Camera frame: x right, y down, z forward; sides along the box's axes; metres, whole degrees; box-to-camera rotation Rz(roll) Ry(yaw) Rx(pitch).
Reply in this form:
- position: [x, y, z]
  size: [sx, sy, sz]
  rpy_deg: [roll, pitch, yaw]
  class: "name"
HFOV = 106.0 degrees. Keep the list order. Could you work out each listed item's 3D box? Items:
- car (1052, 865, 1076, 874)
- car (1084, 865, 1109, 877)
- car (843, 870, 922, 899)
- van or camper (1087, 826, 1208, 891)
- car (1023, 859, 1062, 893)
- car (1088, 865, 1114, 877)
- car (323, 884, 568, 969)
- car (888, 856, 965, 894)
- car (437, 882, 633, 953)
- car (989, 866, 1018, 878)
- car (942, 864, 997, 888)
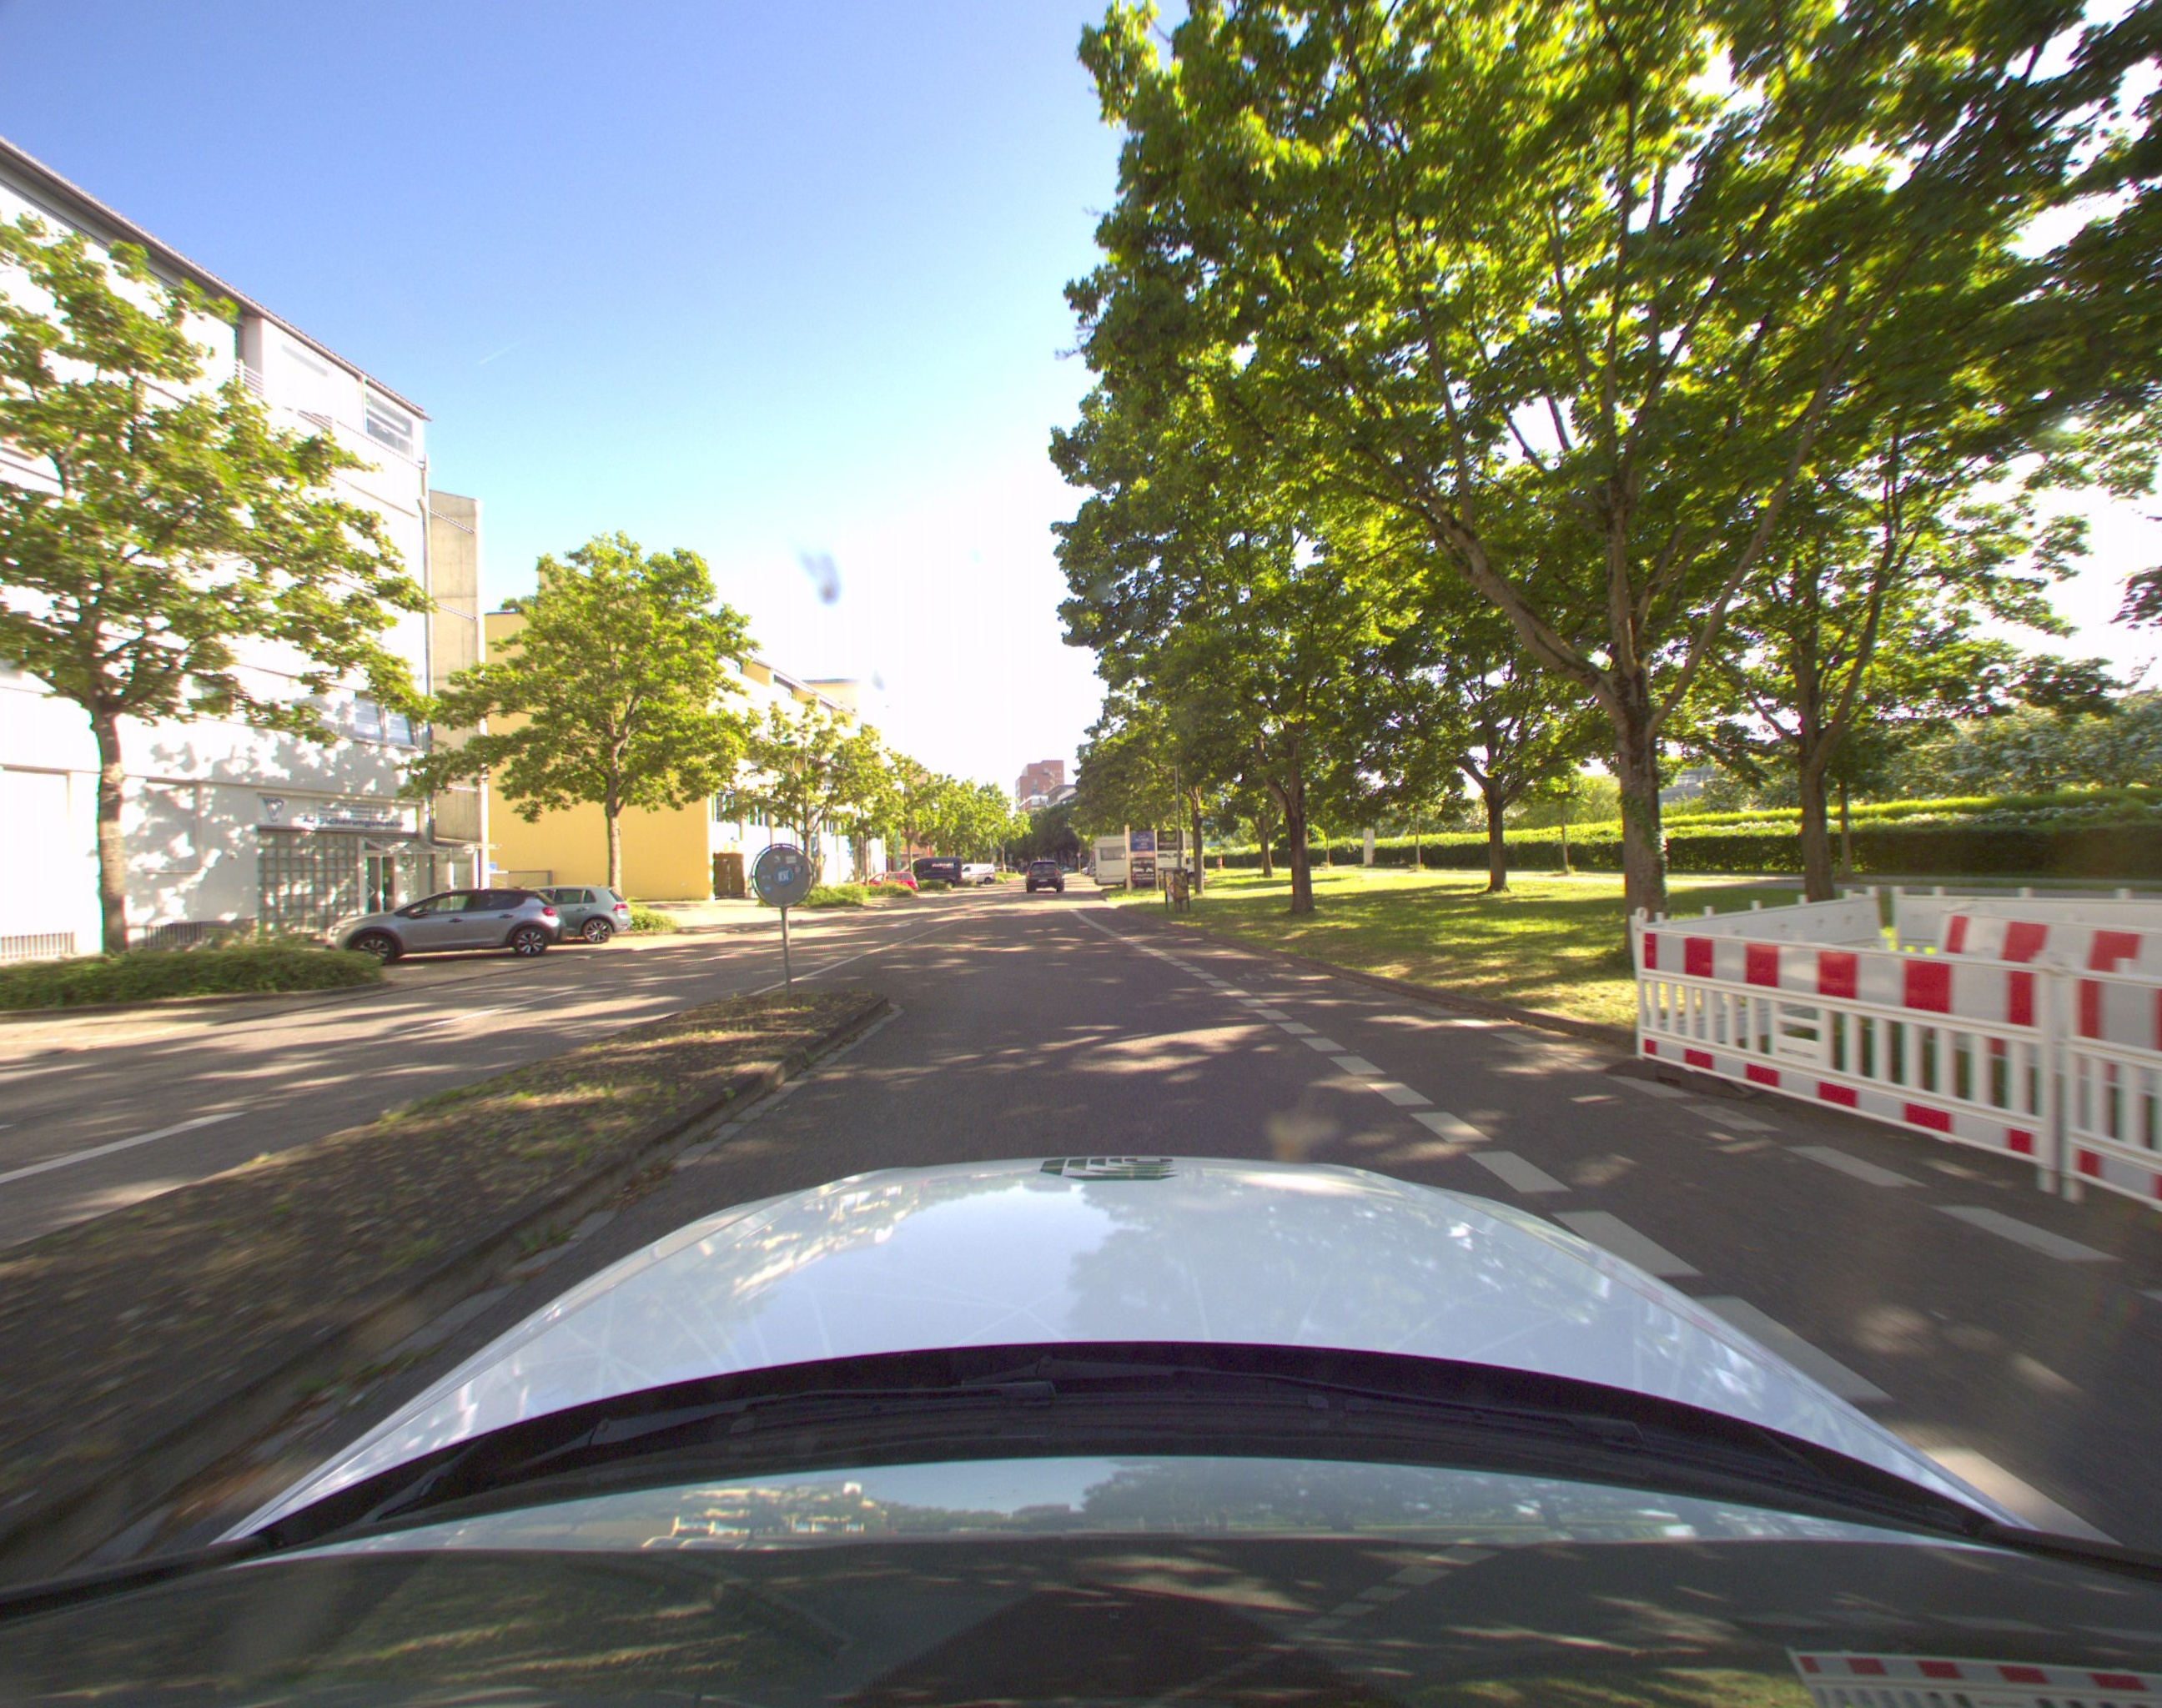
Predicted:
- position: [-2.970, 2.671, 141.057]
  size: [3.945, 1.397, 1.512]
  rpy_deg: [-4, -1, -8]
  class: "car"
- position: [2.094, 2.319, 110.760]
  size: [3.234, 1.277, 1.516]
  rpy_deg: [-4, -1, -1]
  class: "car"
- position: [-12.173, 1.873, 49.940]
  size: [4.427, 1.552, 1.906]
  rpy_deg: [-2, -1, -24]
  class: "car"
- position: [3.462, 0.227, 43.463]
  size: [6.059, 2.928, 2.575]
  rpy_deg: [-4, -1, 0]
  class: "van or camper"
- position: [-2.232, 1.238, 47.792]
  size: [2.128, 1.835, 4.935]
  rpy_deg: [-2, 0, -3]
  class: "car"
- position: [2.586, 2.262, 106.561]
  size: [3.234, 1.277, 1.516]
  rpy_deg: [-4, -1, -1]
  class: "car"
- position: [-13.306, 1.449, 17.394]
  size: [3.899, 1.510, 1.810]
  rpy_deg: [-1, -2, -31]
  class: "car"
- position: [-11.506, 1.536, 60.646]
  size: [5.286, 2.545, 1.969]
  rpy_deg: [-2, -1, -24]
  class: "car"
- position: [-13.447, 1.517, 20.350]
  size: [3.898, 1.510, 1.810]
  rpy_deg: [-1, -2, -31]
  class: "car"
- position: [-10.542, 2.455, 110.954]
  size: [3.881, 1.365, 1.406]
  rpy_deg: [-4, -1, -8]
  class: "car"
- position: [-10.751, 2.089, 78.793]
  size: [4.919, 2.083, 1.964]
  rpy_deg: [-2, -1, -34]
  class: "car"
